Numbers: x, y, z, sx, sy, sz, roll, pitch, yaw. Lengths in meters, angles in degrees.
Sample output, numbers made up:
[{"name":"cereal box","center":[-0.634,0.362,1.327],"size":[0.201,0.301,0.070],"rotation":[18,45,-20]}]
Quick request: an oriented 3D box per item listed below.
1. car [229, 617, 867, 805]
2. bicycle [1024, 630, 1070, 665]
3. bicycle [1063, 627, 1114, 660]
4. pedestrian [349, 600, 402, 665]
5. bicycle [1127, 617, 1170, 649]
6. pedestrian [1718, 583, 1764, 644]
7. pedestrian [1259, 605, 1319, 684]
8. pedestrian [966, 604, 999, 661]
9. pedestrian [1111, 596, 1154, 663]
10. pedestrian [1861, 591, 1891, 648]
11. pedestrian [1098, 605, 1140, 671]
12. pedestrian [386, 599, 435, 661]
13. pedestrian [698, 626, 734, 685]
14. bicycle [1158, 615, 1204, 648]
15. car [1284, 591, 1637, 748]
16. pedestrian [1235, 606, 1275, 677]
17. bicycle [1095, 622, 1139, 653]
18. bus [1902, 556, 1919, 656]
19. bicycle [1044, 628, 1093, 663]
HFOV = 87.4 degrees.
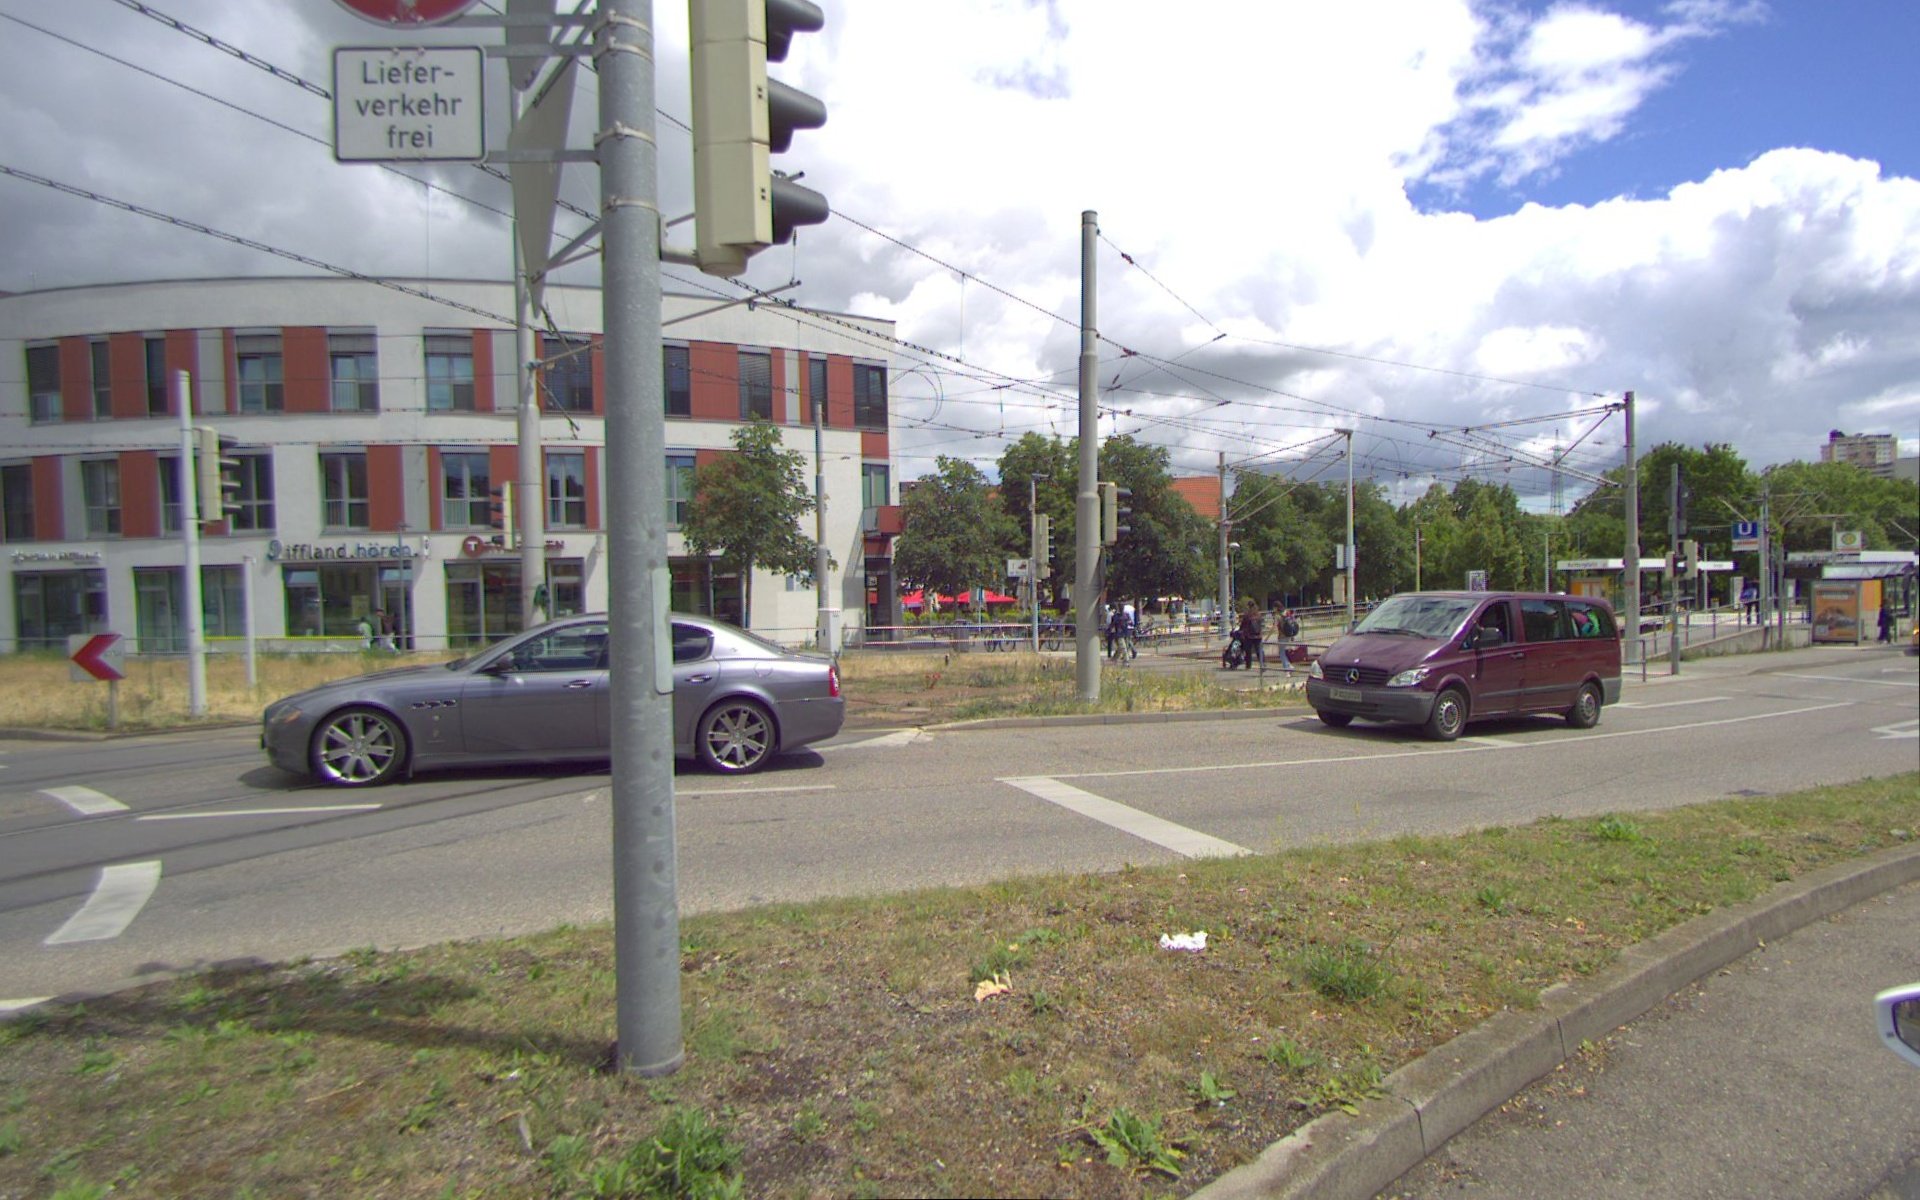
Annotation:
[{"name":"car","center":[-3.505,0.920,9.352],"size":[4.973,1.429,1.796],"rotation":[1,-1,-19]},{"name":"bicycle","center":[2.904,1.576,33.697],"size":[0.685,1.112,1.893],"rotation":[0,-1,-26]},{"name":"bicycle","center":[4.439,1.496,34.812],"size":[0.686,1.077,1.888],"rotation":[1,-1,-33]},{"name":"pedestrian","center":[-18.844,1.041,32.397],"size":[1.119,2.040,1.255],"rotation":[0,-1,-11]},{"name":"bicycle","center":[6.687,1.158,35.670],"size":[0.599,1.112,1.896],"rotation":[0,0,-20]},{"name":"pedestrian","center":[26.709,0.454,34.362],"size":[1.017,2.040,0.966],"rotation":[0,0,-32]},{"name":"pedestrian","center":[7.131,0.946,21.785],"size":[0.910,1.658,0.857],"rotation":[0,-1,-31]},{"name":"pedestrian","center":[0.707,0.996,31.171],"size":[0.659,1.758,0.832],"rotation":[0,-1,35]},{"name":"pedestrian","center":[4.811,0.809,28.072],"size":[0.763,1.846,0.902],"rotation":[0,0,-31]},{"name":"pedestrian","center":[33.650,0.712,36.903],"size":[0.821,2.040,0.696],"rotation":[0,-1,-39]},{"name":"pedestrian","center":[4.009,0.948,25.291],"size":[0.823,1.625,0.667],"rotation":[0,-1,43]},{"name":"pedestrian","center":[-18.545,1.014,33.940],"size":[1.119,2.040,1.255],"rotation":[0,-1,-11]},{"name":"pedestrian","center":[-8.748,1.978,36.017],"size":[1.122,2.040,1.252],"rotation":[0,-1,-20]},{"name":"bicycle","center":[7.957,1.129,36.253],"size":[0.683,1.112,1.896],"rotation":[-2,0,-21]},{"name":"car","center":[7.036,0.859,13.979],"size":[5.012,1.846,1.984],"rotation":[1,0,-30]},{"name":"pedestrian","center":[6.885,0.965,23.449],"size":[0.818,1.617,0.643],"rotation":[1,0,12]},{"name":"bicycle","center":[5.519,1.304,35.419],"size":[0.683,1.043,1.896],"rotation":[0,-1,-20]},{"name":"bus","center":[34.517,0.150,33.461],"size":[9.606,3.151,2.708],"rotation":[-1,1,-35]},{"name":"bicycle","center":[3.672,1.534,34.187],"size":[0.686,1.112,1.890],"rotation":[1,-1,-30]}]
